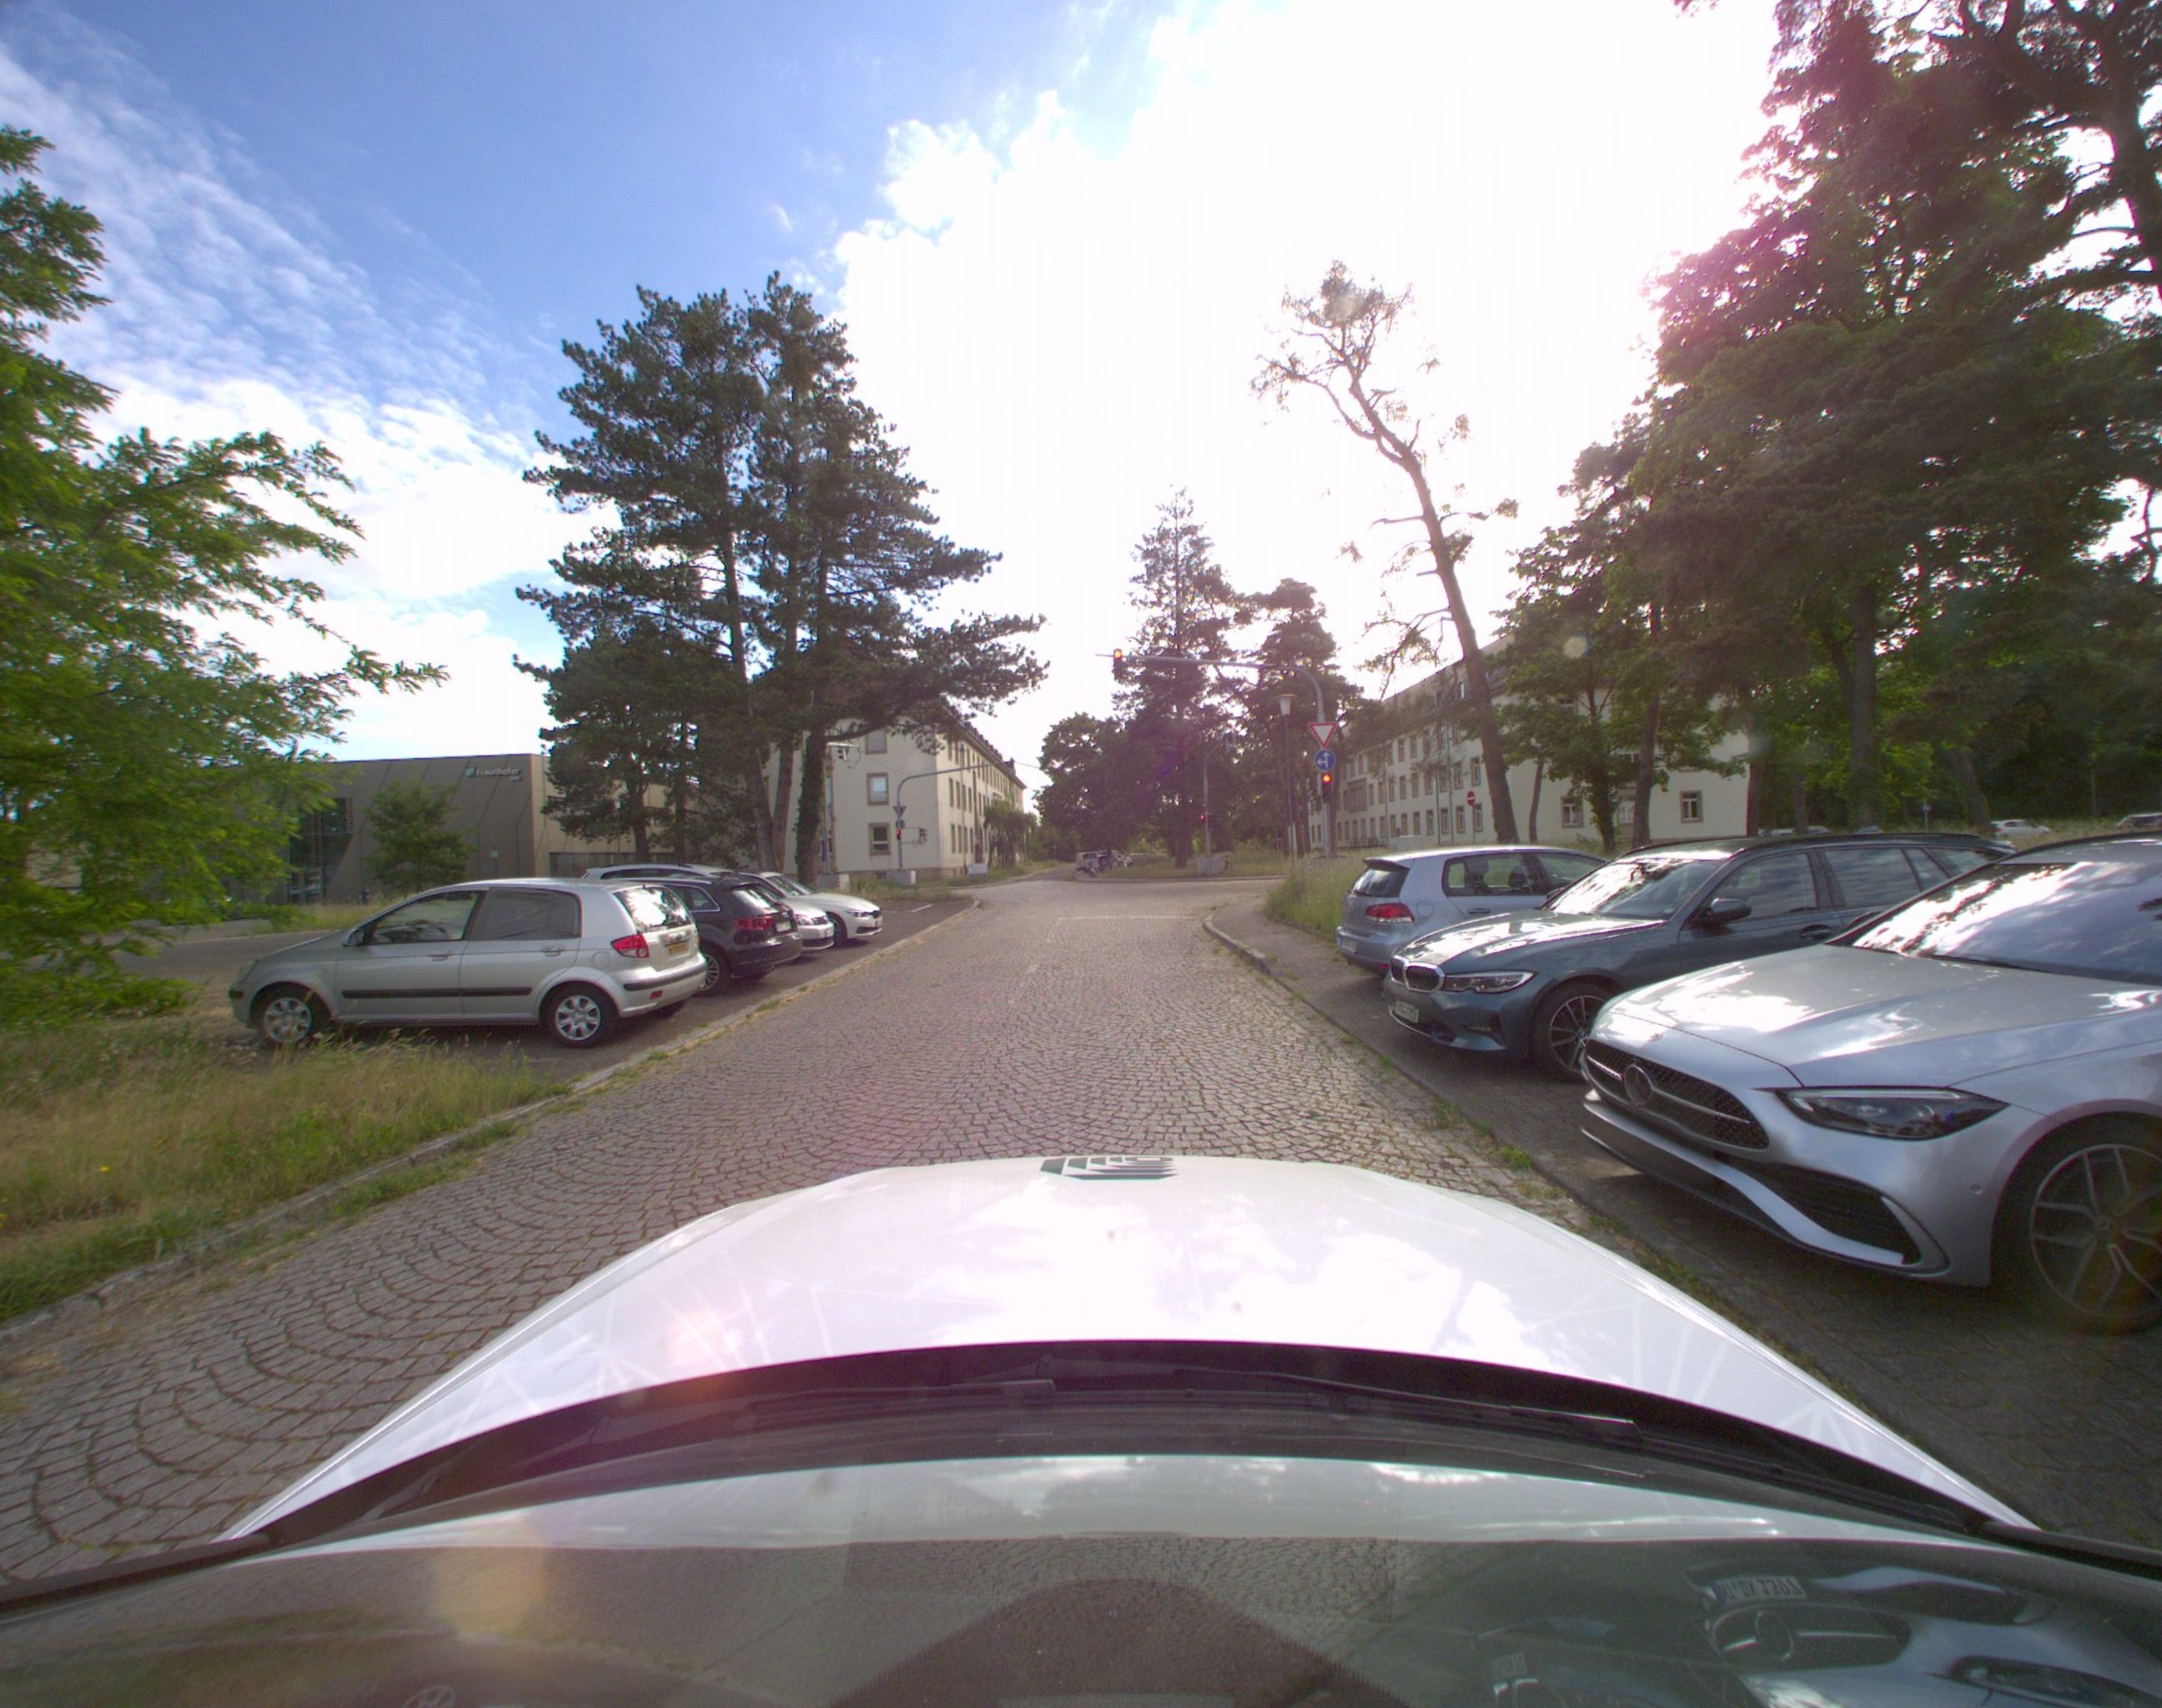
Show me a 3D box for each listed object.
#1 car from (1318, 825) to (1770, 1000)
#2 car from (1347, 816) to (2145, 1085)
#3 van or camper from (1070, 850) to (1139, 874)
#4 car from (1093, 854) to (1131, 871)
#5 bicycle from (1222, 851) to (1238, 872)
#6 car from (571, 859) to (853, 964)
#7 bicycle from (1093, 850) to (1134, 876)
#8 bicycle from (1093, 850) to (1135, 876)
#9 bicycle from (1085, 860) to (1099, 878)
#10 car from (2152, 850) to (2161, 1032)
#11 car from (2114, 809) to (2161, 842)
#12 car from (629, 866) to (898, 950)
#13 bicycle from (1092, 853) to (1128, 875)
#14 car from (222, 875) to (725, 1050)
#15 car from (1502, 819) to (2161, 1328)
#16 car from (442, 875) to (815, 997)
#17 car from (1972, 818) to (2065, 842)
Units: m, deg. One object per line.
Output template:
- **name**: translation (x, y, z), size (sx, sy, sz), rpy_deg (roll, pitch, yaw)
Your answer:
- **car**: translation (4.703, 0.563, 8.670), size (3.830, 1.471, 1.642), rpy_deg (-3, 0, 0)
- **car**: translation (4.546, 0.601, 6.062), size (4.501, 1.483, 1.806), rpy_deg (-3, 0, -2)
- **van or camper**: translation (2.164, 0.701, 75.739), size (6.038, 1.948, 1.991), rpy_deg (-3, 0, -13)
- **car**: translation (2.718, 0.783, 72.155), size (3.132, 1.354, 1.617), rpy_deg (-2, 0, -5)
- **bicycle**: translation (8.386, 0.418, 45.901), size (0.720, 1.169, 2.742), rpy_deg (-1, 0, 8)
- **car**: translation (-5.933, 0.897, 13.454), size (3.821, 1.607, 1.734), rpy_deg (0, 0, -2)
- **bicycle**: translation (2.314, 0.645, 58.957), size (2.772, 1.694, 1.118), rpy_deg (-2, 0, -7)
- **bicycle**: translation (2.313, 0.614, 57.763), size (2.771, 1.694, 1.118), rpy_deg (-2, 0, -5)
- **bicycle**: translation (0.747, 0.984, 53.495), size (0.723, 1.107, 2.463), rpy_deg (-7, -1, 2)
- **car**: translation (4.700, 0.611, 1.114), size (4.092, 1.423, 1.720), rpy_deg (-3, 0, 1)
- **car**: translation (56.885, -1.545, 42.252), size (2.009, 1.600, 3.956), rpy_deg (-2, 0, -36)
- **car**: translation (-6.010, 1.011, 15.852), size (4.467, 1.442, 1.828), rpy_deg (1, 0, -3)
- **bicycle**: translation (2.284, 0.746, 63.862), size (2.765, 1.694, 1.121), rpy_deg (0, -1, 2)
- **car**: translation (-5.610, 0.960, 7.897), size (3.567, 1.476, 1.646), rpy_deg (0, 0, -2)
- **car**: translation (4.383, 0.605, 3.389), size (4.312, 1.428, 1.766), rpy_deg (-3, 0, -1)
- **car**: translation (-5.630, 0.992, 10.483), size (3.823, 1.408, 1.695), rpy_deg (0, 0, 0)
- **car**: translation (58.191, -1.464, 50.607), size (3.973, 1.398, 1.563), rpy_deg (0, 0, 1)
